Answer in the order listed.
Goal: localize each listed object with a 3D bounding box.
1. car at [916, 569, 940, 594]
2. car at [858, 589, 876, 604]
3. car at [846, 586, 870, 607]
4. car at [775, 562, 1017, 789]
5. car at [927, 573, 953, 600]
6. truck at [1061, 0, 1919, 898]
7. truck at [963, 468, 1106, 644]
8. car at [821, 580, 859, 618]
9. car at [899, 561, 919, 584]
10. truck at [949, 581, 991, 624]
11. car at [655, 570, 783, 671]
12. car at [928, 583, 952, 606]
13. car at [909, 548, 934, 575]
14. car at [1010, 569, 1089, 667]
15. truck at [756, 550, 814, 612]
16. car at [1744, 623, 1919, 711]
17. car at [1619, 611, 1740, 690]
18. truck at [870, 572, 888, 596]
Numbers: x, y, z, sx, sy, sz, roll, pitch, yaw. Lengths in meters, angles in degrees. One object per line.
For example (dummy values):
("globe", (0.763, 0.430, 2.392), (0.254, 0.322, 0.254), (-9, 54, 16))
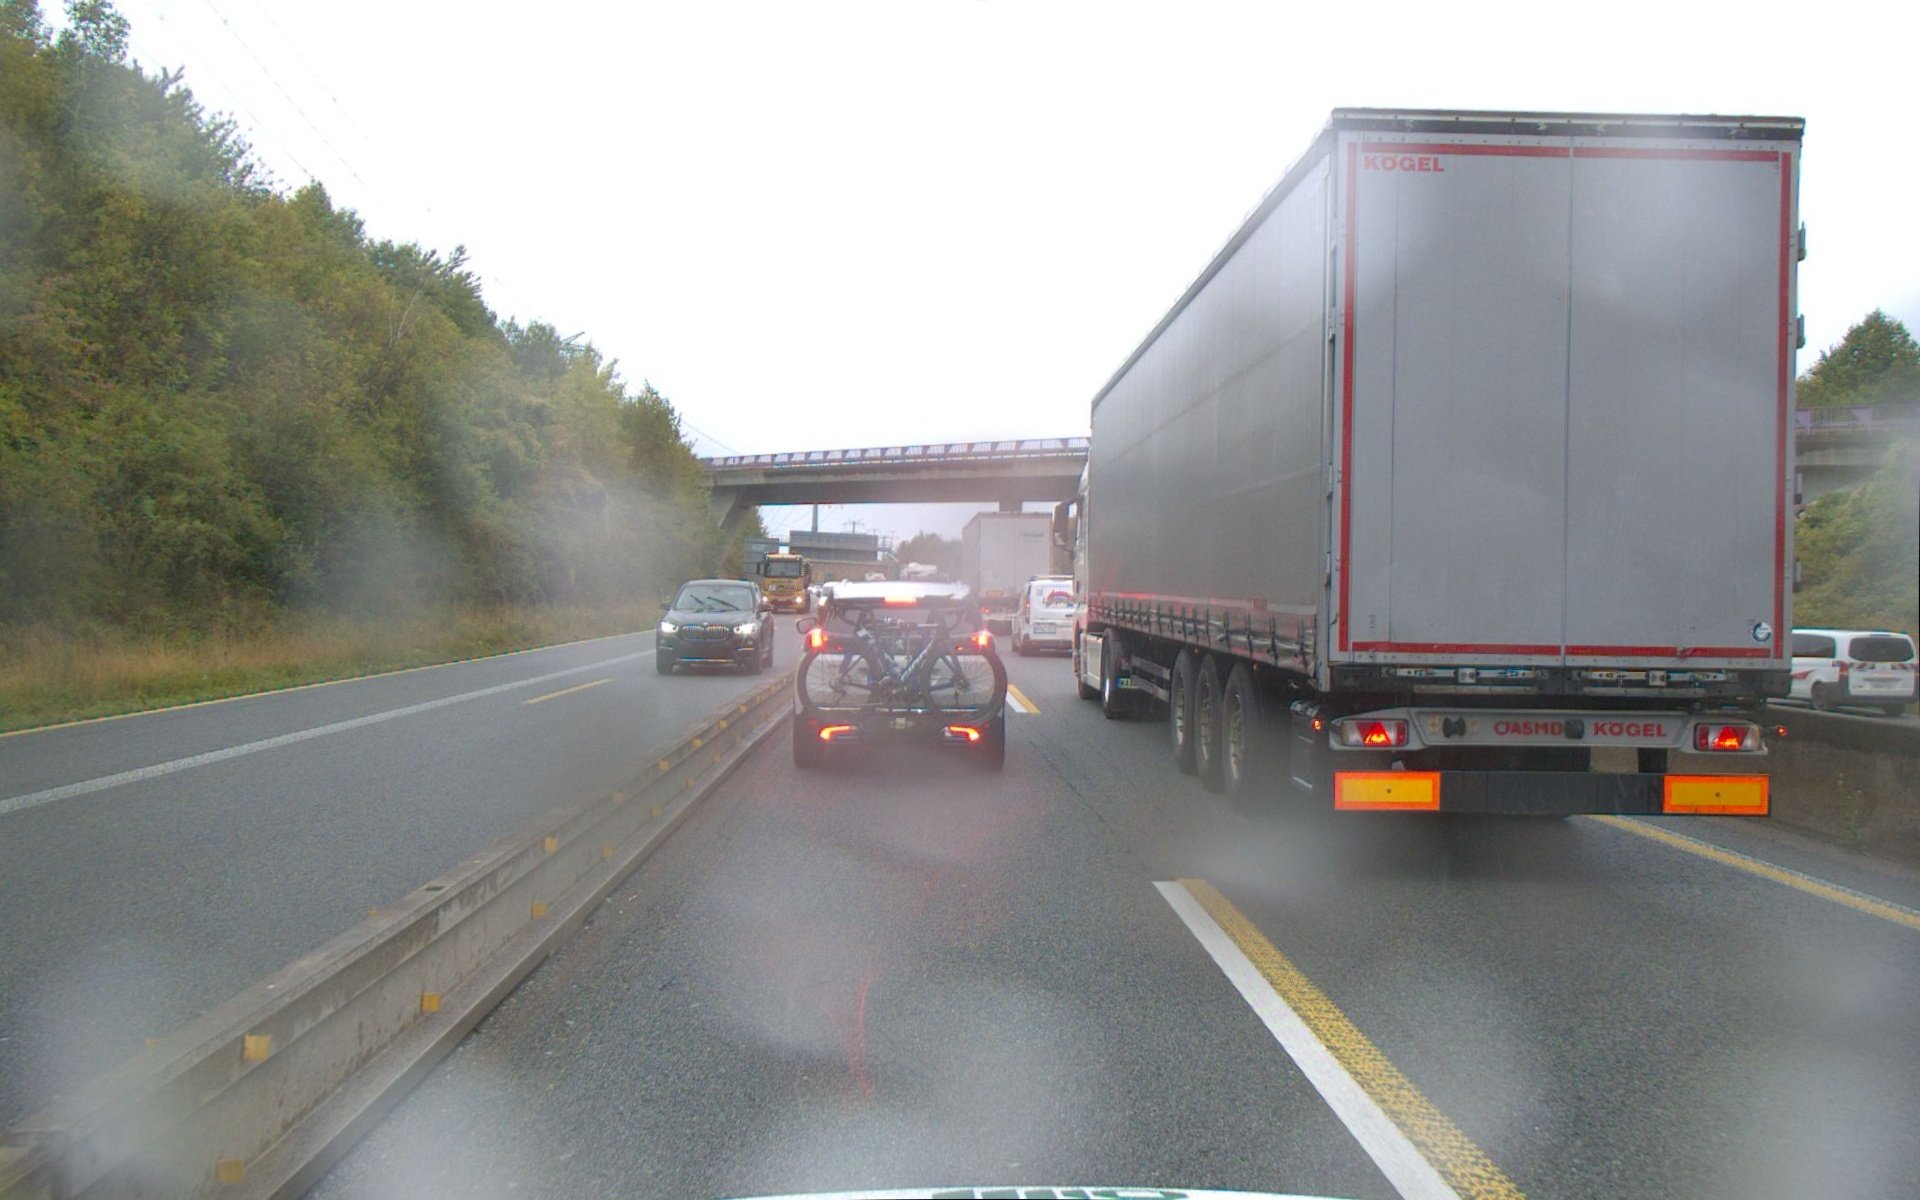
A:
("car", (-2.720, -1.525, 139.428), (1.953, 2.049, 3.999), (1, 0, -1))
("car", (-9.145, -0.353, 162.833), (1.652, 1.434, 3.928), (1, 0, -3))
("car", (-7.381, -0.249, 119.525), (1.652, 1.434, 3.928), (1, 0, -3))
("car", (-0.476, 0.561, 14.629), (1.773, 1.666, 4.635), (1, 0, 0))
("car", (-1.551, -1.022, 127.044), (1.953, 2.049, 3.999), (1, 0, -1))
("truck", (3.731, -1.448, 18.230), (3.898, 5.772, 20.374), (1, 0, 0))
("truck", (2.508, -1.463, 65.253), (4.646, 5.772, 20.374), (1, 0, 0))
("car", (-6.000, -0.058, 83.381), (1.774, 1.856, 4.633), (1, 0, -3))
("car", (-5.094, -2.753, 165.501), (1.953, 2.164, 4.525), (1, 0, -1))
("truck", (0.488, 0.129, 82.320), (1.953, 2.049, 3.999), (1, 0, -1))
("car", (-4.243, 0.335, 29.670), (1.773, 1.661, 4.116), (1, 0, -2))
("car", (-1.391, -0.375, 113.232), (1.605, 1.524, 3.665), (1, 0, -1))
("car", (-3.520, -3.490, 152.037), (2.194, 2.347, 4.571), (1, 0, -1))
("car", (2.101, 0.411, 39.971), (1.636, 2.218, 4.534), (1, 0, 0))
("truck", (-10.228, -1.040, 97.744), (2.484, 3.411, 12.045), (1, 0, -2))
("car", (20.595, 1.518, 39.142), (1.902, 1.861, 4.727), (1, 0, 1))
("car", (20.435, 1.389, 47.158), (1.693, 2.094, 4.124), (1, 0, 1))
("truck", (-11.908, -2.341, 243.401), (2.484, 3.411, 12.045), (1, 0, -2))
